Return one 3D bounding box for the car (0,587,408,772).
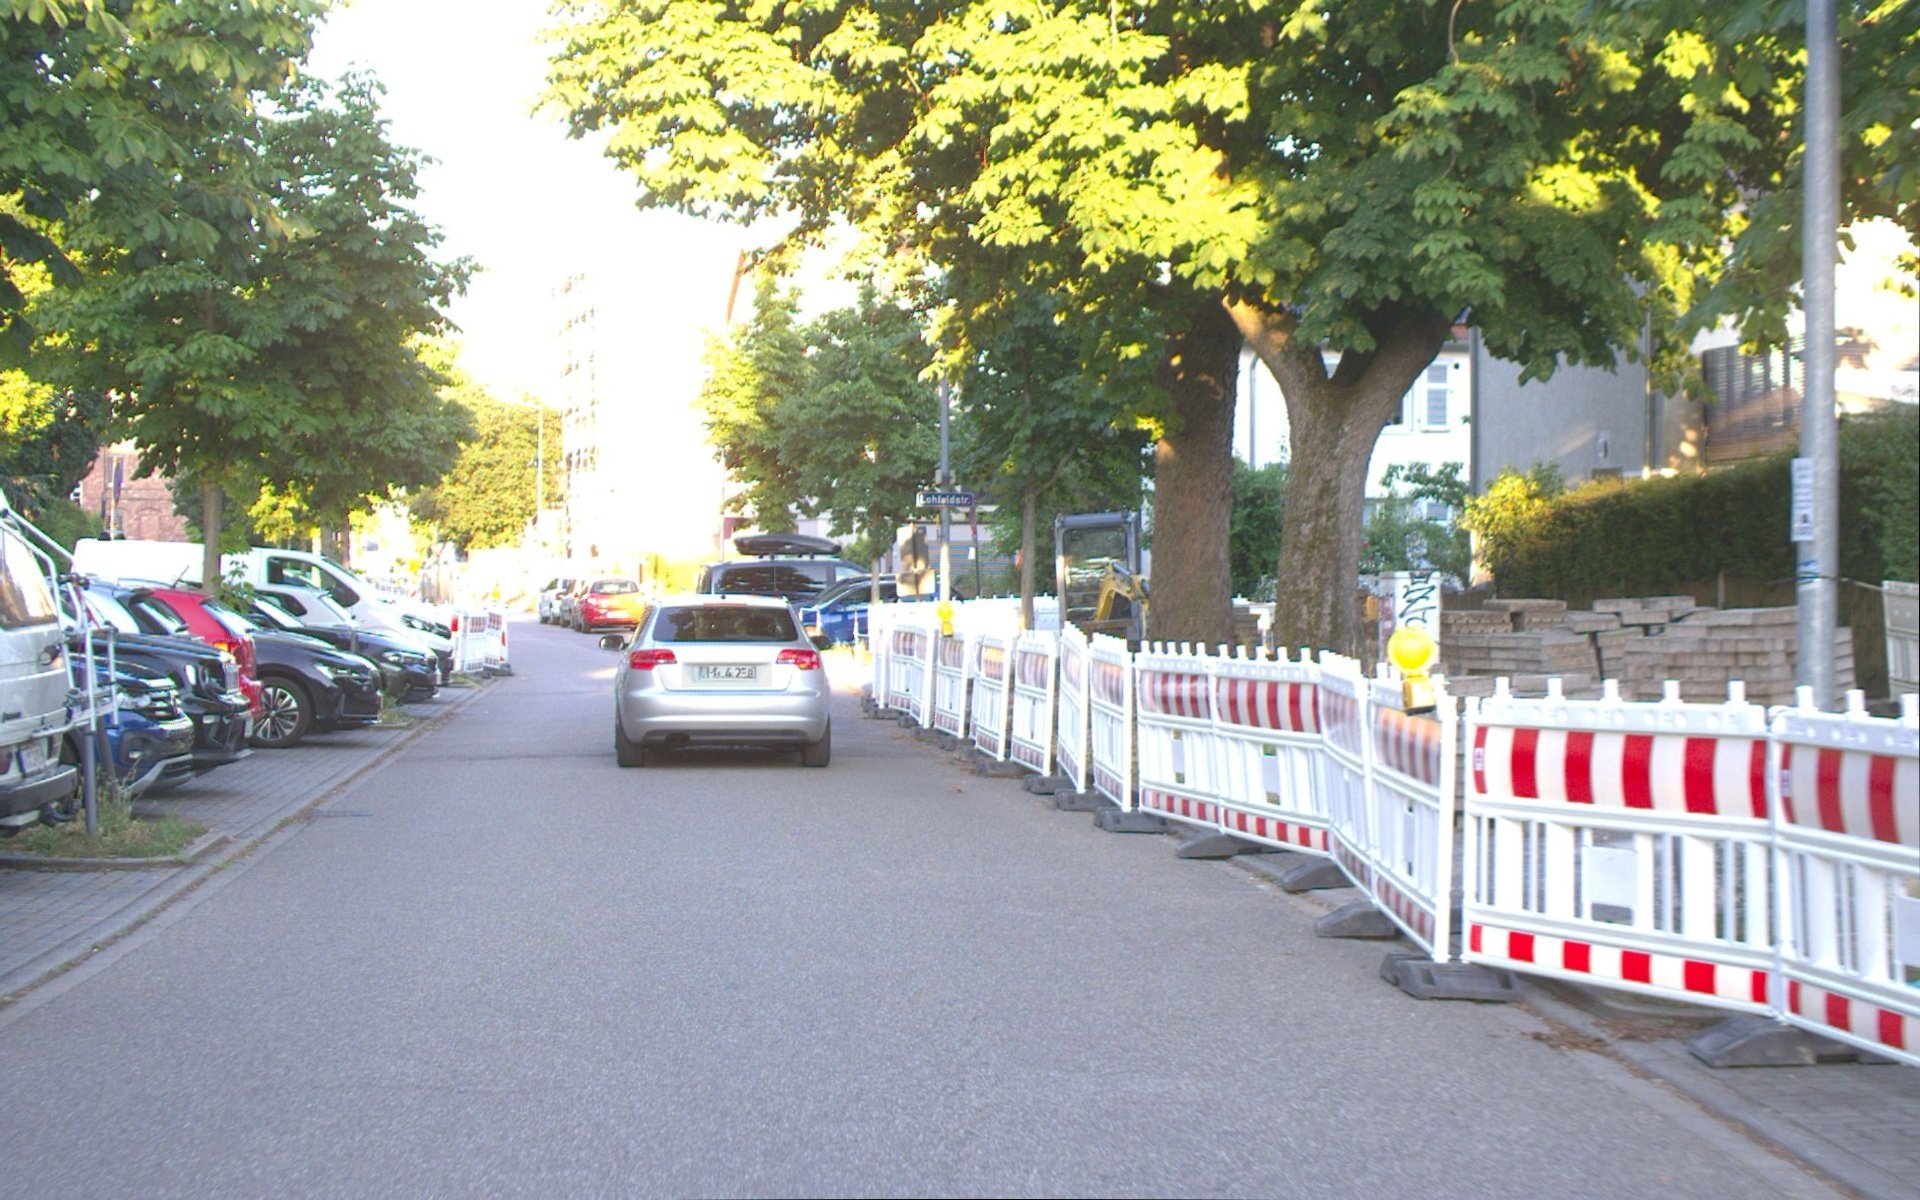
[{"bbox_3d":[-7.332,0.710,31.655,4.405,1.609,1.900,1,0,-10],"label":"car"}]

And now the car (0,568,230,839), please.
[{"bbox_3d":[-6.627,0.593,21.283,3.860,1.589,1.786,1,0,-3],"label":"car"}]

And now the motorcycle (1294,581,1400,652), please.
[{"bbox_3d":[6.177,0.265,54.775,1.841,1.102,0.581,0,1,-42],"label":"motorcycle"}]

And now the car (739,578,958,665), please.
[{"bbox_3d":[-2.218,0.422,68.175,3.986,1.645,1.765,1,0,-17],"label":"car"}]

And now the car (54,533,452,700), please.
[{"bbox_3d":[-8.913,0.201,43.674,4.771,2.007,2.000,1,0,-6],"label":"car"}]

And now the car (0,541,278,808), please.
[{"bbox_3d":[-6.854,0.475,23.959,3.860,1.771,1.843,1,0,-3],"label":"car"}]

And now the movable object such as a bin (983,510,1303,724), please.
[{"bbox_3d":[2.102,0.168,41.521,2.627,2.394,5.199,1,0,-11],"label":"movable object such as a bin"}]

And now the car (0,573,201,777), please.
[{"bbox_3d":[-8.001,0.547,26.679,3.986,1.519,1.790,1,0,-8],"label":"car"}]

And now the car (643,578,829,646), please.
[{"bbox_3d":[-5.410,0.285,82.851,4.148,1.567,1.798,1,0,-17],"label":"car"}]

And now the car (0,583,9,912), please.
[{"bbox_3d":[-6.152,0.615,13.779,4.174,1.420,2.000,1,0,-4],"label":"car"}]

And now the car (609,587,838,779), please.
[{"bbox_3d":[-2.051,0.649,29.168,1.807,1.483,4.001,0,1,-5],"label":"car"}]

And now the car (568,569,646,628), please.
[{"bbox_3d":[-9.279,-0.059,90.264,1.729,1.478,3.558,1,0,-11],"label":"car"}]

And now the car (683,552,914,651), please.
[{"bbox_3d":[-3.444,0.035,73.025,4.555,2.016,2.102,1,0,-14],"label":"car"}]

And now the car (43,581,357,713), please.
[{"bbox_3d":[-9.022,0.548,41.016,3.414,1.479,1.759,1,0,-4],"label":"car"}]

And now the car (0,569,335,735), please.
[{"bbox_3d":[-8.264,0.501,34.216,3.986,1.573,1.802,1,0,-10],"label":"car"}]

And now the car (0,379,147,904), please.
[{"bbox_3d":[-6.429,0.151,16.742,4.501,2.422,2.000,1,0,-4],"label":"car"}]

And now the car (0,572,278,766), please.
[{"bbox_3d":[-7.943,0.557,29.379,3.986,1.578,1.731,1,0,-6],"label":"car"}]

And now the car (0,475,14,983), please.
[{"bbox_3d":[-5.791,0.452,11.621,4.672,1.867,2.000,1,0,-4],"label":"car"}]

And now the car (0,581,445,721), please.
[{"bbox_3d":[-8.220,0.567,38.483,4.771,1.465,1.881,1,0,-6],"label":"car"}]

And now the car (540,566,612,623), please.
[{"bbox_3d":[-11.247,-0.163,100.509,1.808,1.607,3.582,1,0,-11],"label":"car"}]
